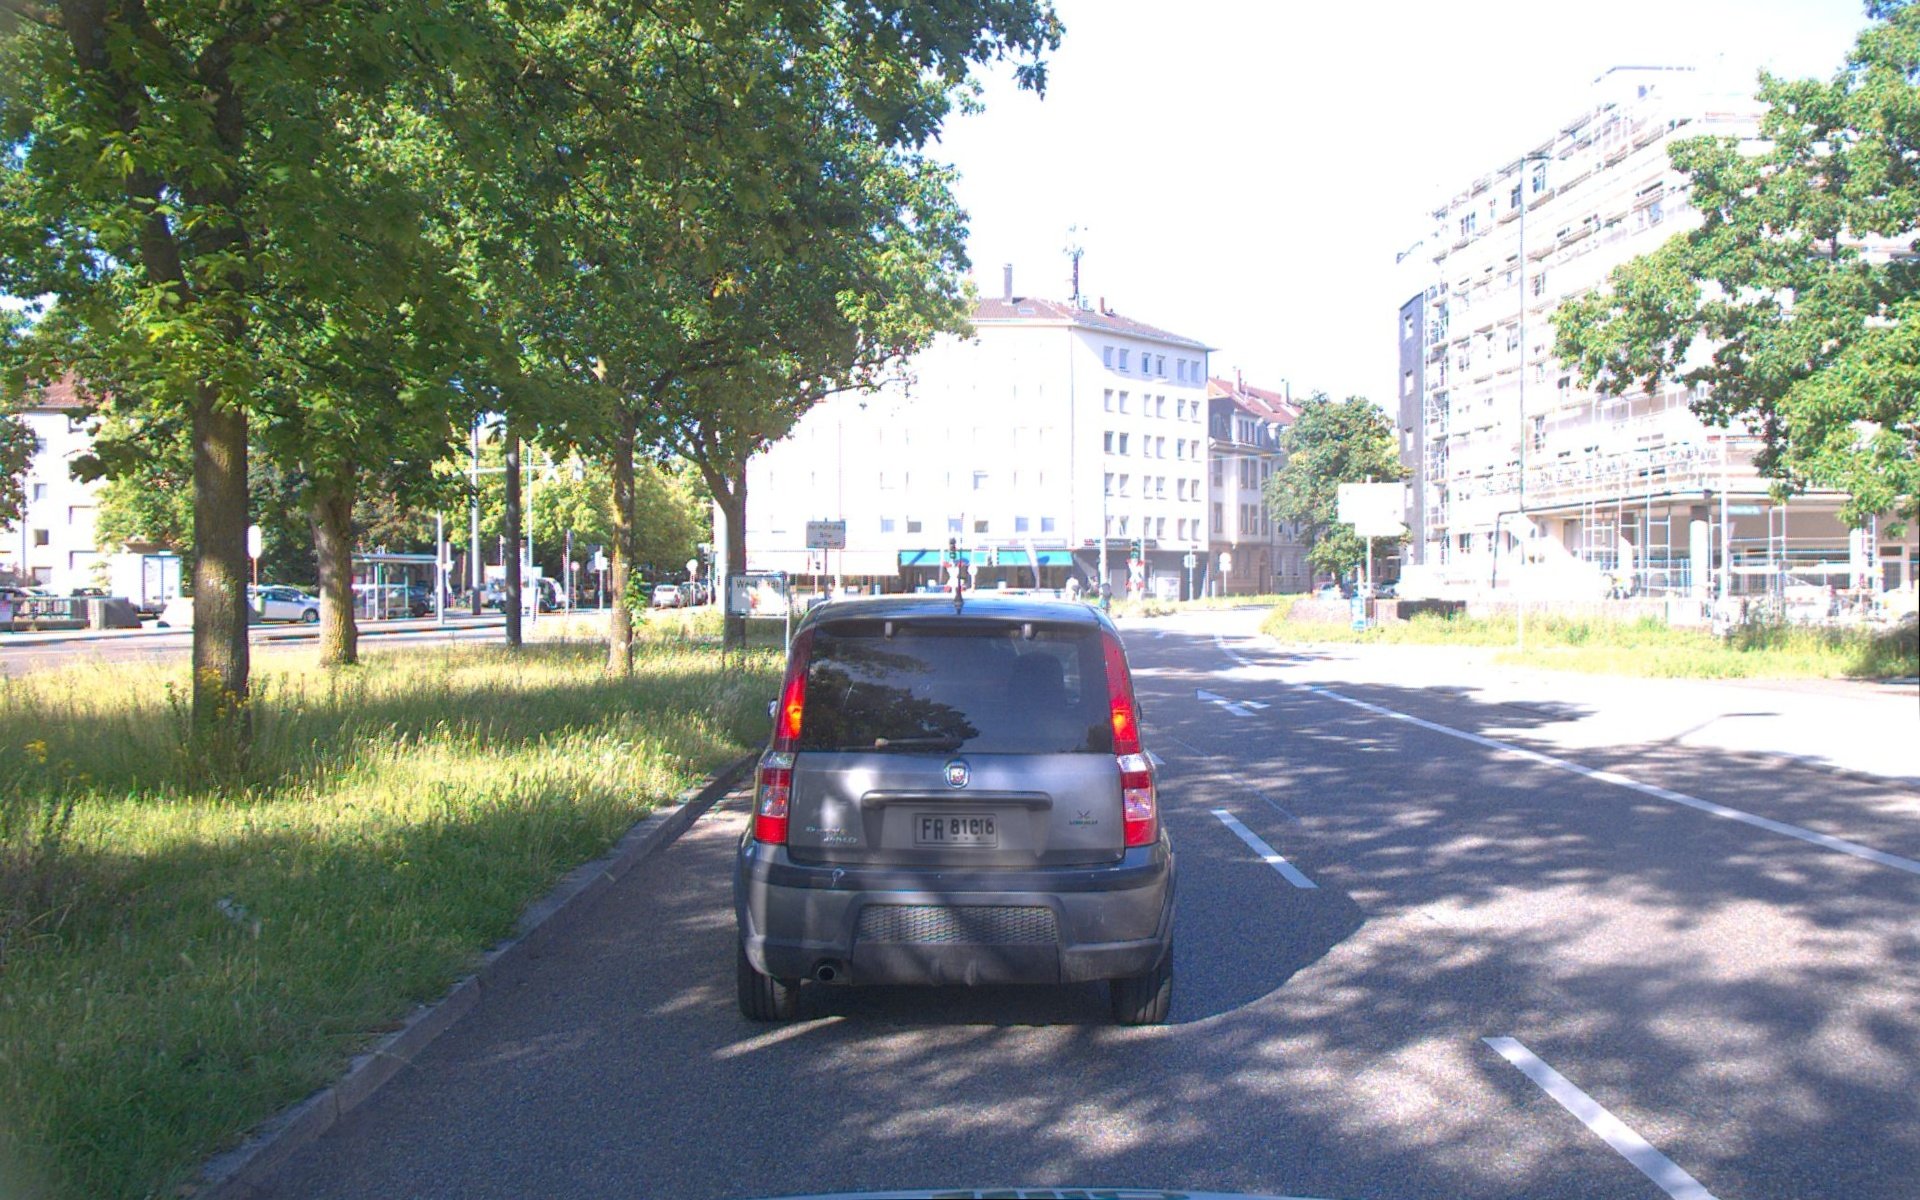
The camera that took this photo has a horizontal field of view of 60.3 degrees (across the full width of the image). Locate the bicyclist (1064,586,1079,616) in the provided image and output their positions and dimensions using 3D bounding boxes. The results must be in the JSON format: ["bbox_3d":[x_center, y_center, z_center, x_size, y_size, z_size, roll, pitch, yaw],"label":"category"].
[{"bbox_3d":[5.115,0.030,76.164,0.521,1.380,0.595,0,0,-16],"label":"bicyclist"}]

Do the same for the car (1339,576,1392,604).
[{"bbox_3d":[23.298,-0.560,94.860,1.787,1.534,3.990,0,1,32],"label":"car"}]

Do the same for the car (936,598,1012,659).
[{"bbox_3d":[0.343,0.630,38.048,1.655,1.275,3.626,-1,1,1],"label":"car"}]

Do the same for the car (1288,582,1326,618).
[{"bbox_3d":[20.759,0.022,98.950,1.951,2.049,4.003,1,0,15],"label":"car"}]

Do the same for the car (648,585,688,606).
[{"bbox_3d":[-19.021,-0.289,107.866,1.953,1.333,3.999,0,1,-1],"label":"car"}]

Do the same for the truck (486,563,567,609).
[{"bbox_3d":[-23.531,-0.759,89.835,4.017,2.469,1.792,0,0,-5],"label":"truck"}]

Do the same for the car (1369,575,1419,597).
[{"bbox_3d":[31.872,-1.041,121.498,1.872,1.621,3.986,-1,1,-13],"label":"car"}]

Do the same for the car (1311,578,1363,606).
[{"bbox_3d":[20.669,-0.477,90.692,1.742,1.468,3.610,1,1,31],"label":"car"}]

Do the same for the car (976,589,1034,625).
[{"bbox_3d":[1.689,0.241,61.001,1.952,1.264,4.002,0,1,4],"label":"car"}]

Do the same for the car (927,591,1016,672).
[{"bbox_3d":[0.239,0.564,31.917,1.612,1.463,3.396,0,1,1],"label":"car"}]

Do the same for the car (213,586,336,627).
[{"bbox_3d":[-29.232,0.247,70.606,1.840,1.570,4.521,4,3,42],"label":"car"}]

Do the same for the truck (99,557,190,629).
[{"bbox_3d":[-36.017,-0.355,72.993,4.742,3.047,1.988,1,1,42],"label":"truck"}]

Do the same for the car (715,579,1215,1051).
[{"bbox_3d":[0.040,0.684,7.036,1.625,1.536,3.252,0,1,1],"label":"car"}]

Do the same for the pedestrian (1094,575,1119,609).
[{"bbox_3d":[6.250,-0.340,70.567,0.760,1.452,0.935,1,0,-14],"label":"pedestrian"}]

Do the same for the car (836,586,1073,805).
[{"bbox_3d":[-0.062,0.630,13.007,1.588,1.454,3.688,0,1,-1],"label":"car"}]

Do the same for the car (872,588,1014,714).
[{"bbox_3d":[-0.259,0.607,22.376,1.724,1.512,4.292,0,1,-1],"label":"car"}]

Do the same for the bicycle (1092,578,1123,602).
[{"bbox_3d":[6.267,-0.419,70.447,0.769,0.968,1.849,1,0,-14],"label":"bicycle"}]

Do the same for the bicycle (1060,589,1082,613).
[{"bbox_3d":[5.123,0.031,76.143,0.521,1.109,1.578,0,1,-16],"label":"bicycle"}]
